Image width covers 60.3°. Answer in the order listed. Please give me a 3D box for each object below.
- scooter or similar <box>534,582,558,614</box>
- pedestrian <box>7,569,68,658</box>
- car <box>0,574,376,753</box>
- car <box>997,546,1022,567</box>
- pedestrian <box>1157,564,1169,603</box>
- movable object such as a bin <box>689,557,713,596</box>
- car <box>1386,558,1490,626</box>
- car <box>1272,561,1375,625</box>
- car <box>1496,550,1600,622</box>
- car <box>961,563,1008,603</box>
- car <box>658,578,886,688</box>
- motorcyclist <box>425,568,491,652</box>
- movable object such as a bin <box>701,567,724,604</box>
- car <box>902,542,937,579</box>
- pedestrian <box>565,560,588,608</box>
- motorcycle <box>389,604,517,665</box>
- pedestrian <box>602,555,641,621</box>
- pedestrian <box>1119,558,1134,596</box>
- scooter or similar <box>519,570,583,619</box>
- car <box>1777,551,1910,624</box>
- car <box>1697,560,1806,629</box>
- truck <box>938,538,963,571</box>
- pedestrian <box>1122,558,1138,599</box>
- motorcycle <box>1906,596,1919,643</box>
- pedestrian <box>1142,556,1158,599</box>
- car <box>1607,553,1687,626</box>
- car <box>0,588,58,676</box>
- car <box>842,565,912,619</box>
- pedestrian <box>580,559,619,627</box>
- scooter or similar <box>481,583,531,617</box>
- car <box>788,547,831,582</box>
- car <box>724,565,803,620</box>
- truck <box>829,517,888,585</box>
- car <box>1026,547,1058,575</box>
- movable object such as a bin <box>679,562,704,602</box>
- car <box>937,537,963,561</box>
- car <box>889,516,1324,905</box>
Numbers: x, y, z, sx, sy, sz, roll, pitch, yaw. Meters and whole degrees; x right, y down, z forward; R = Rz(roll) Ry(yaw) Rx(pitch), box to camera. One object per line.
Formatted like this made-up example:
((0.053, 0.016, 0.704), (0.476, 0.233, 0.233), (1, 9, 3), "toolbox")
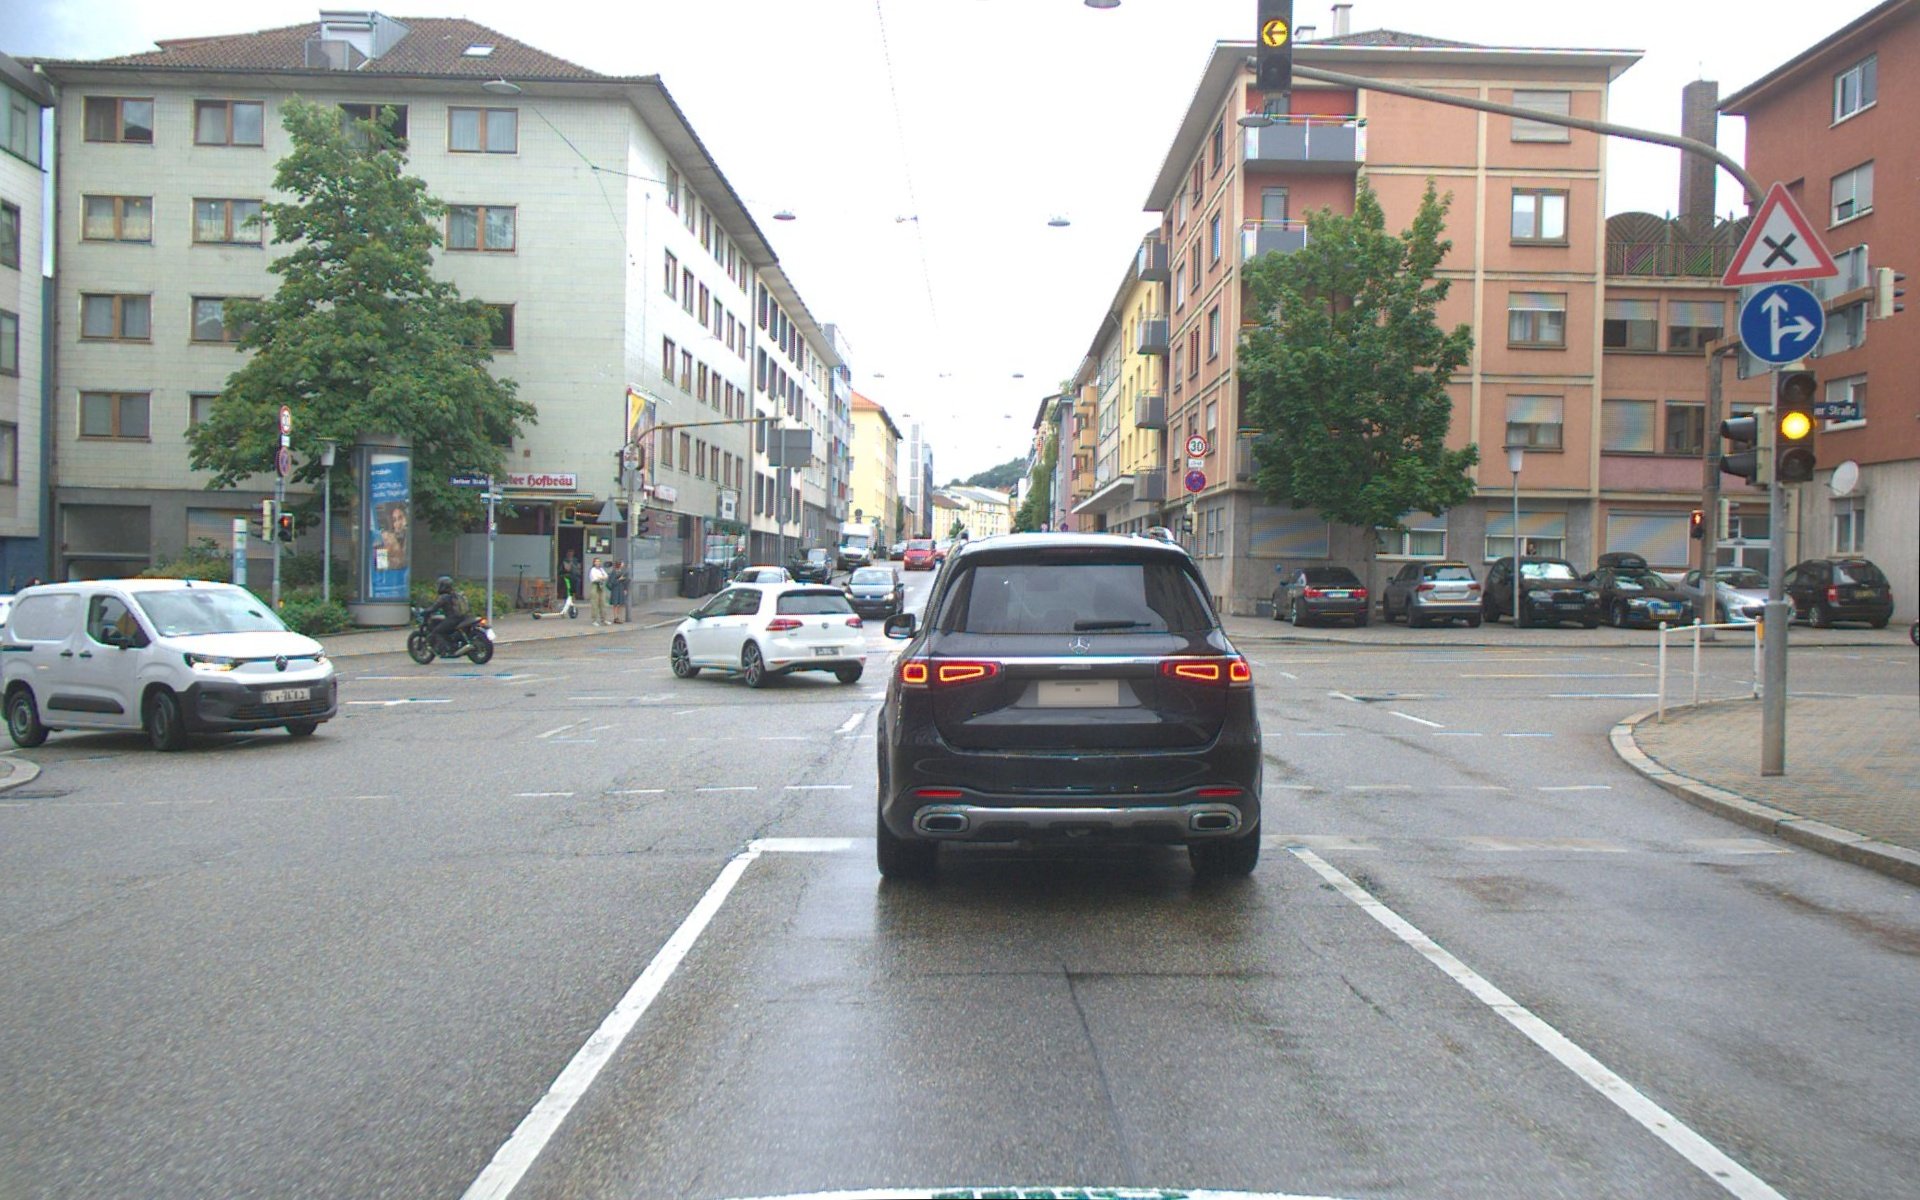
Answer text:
((-11.410, -0.066, 45.566), (0.452, 0.857, 1.313), (2, 0, -22), "scooter or similar")
((-20.038, 0.287, 35.914), (0.897, 1.848, 0.754), (2, 4, 28), "pedestrian")
((-8.718, 0.668, 18.325), (4.448, 1.745, 1.808), (-2, 1, 32), "car")
((4.204, -3.706, 140.474), (1.974, 1.590, 4.001), (2, 0, 3), "car")
((7.602, -0.611, 61.949), (0.356, 1.422, 0.370), (2, 4, 1), "pedestrian")
((-9.242, -0.832, 58.938), (0.683, 1.338, 0.782), (2, -1, -1), "movable object such as a bin")
((12.325, -0.234, 42.889), (1.944, 1.689, 4.003), (0, 1, 6), "car")
((9.441, -0.222, 43.349), (1.805, 1.581, 4.797), (0, 1, 2), "car")
((14.953, -0.362, 42.244), (1.944, 1.749, 4.004), (0, 1, 11), "car")
((0.971, -0.676, 64.961), (1.806, 1.515, 4.001), (0, 0, 1), "car")
((-2.970, 0.425, 25.277), (1.812, 1.487, 4.332), (-2, 2, -31), "car")
((-9.019, 0.177, 29.740), (0.729, 1.478, 0.907), (0, 0, 24), "motorcyclist")
((-9.224, -0.528, 61.670), (0.683, 1.338, 0.782), (2, -1, -1), "movable object such as a bin")
((-2.568, -2.507, 105.688), (2.022, 2.280, 4.621), (0, 0, 2), "car")
((-11.609, -0.468, 50.058), (0.508, 1.424, 0.578), (2, -1, -3), "pedestrian")
((-9.131, 0.606, 29.775), (2.200, 1.024, 0.864), (0, 0, 25), "motorcycle")
((-8.813, -0.318, 43.096), (0.702, 1.675, 0.750), (1, 4, -36), "pedestrian")
((7.149, -1.009, 70.974), (0.509, 1.582, 0.569), (2, 4, 1), "pedestrian")
((-10.801, -0.143, 43.702), (1.539, 1.211, 0.496), (2, -1, -29), "scooter or similar")
((22.677, -0.284, 42.619), (1.951, 1.735, 4.003), (2, 0, 12), "car")
((20.138, -0.104, 42.229), (1.633, 1.609, 4.003), (2, 0, 13), "car")
((-1.252, -5.946, 218.363), (2.749, 3.899, 8.146), (2, 0, 2), "truck")
((6.685, -0.865, 65.038), (0.509, 1.565, 0.569), (2, 4, 1), "pedestrian")
((20.490, 0.368, 33.551), (2.312, 0.943, 0.636), (-2, -1, -7), "motorcycle")
((7.122, -0.848, 61.983), (0.469, 1.593, 0.558), (2, 4, 1), "pedestrian")
((17.544, -0.279, 42.362), (1.758, 1.727, 4.000), (2, 1, 21), "car")
((-19.901, 0.600, 31.620), (4.167, 1.628, 2.025), (0, 0, -6), "car")
((-2.440, -0.262, 49.208), (1.806, 1.515, 4.001), (0, 1, 1), "car")
((-9.214, -0.186, 42.273), (0.702, 1.675, 0.750), (1, 4, -36), "pedestrian")
((-12.377, -0.004, 45.055), (1.437, 0.857, 0.547), (2, -1, 38), "scooter or similar")
((-7.197, -1.693, 79.434), (1.688, 1.631, 4.000), (0, 0, 0), "car")
((-5.758, -0.244, 48.852), (1.806, 1.539, 4.001), (0, 1, 1), "car")
((-6.312, -2.994, 103.976), (2.749, 3.899, 8.146), (2, 0, 2), "truck")
((5.380, -2.548, 108.533), (1.974, 1.590, 5.156), (2, 0, 3), "car")
((-9.264, -0.606, 57.034), (0.683, 1.338, 0.782), (2, -1, -1), "movable object such as a bin")
((-0.762, -3.851, 125.552), (1.806, 1.703, 4.001), (0, 0, 1), "car")
((0.597, 0.465, 9.945), (1.980, 1.769, 4.746), (1, 1, -2), "car")
